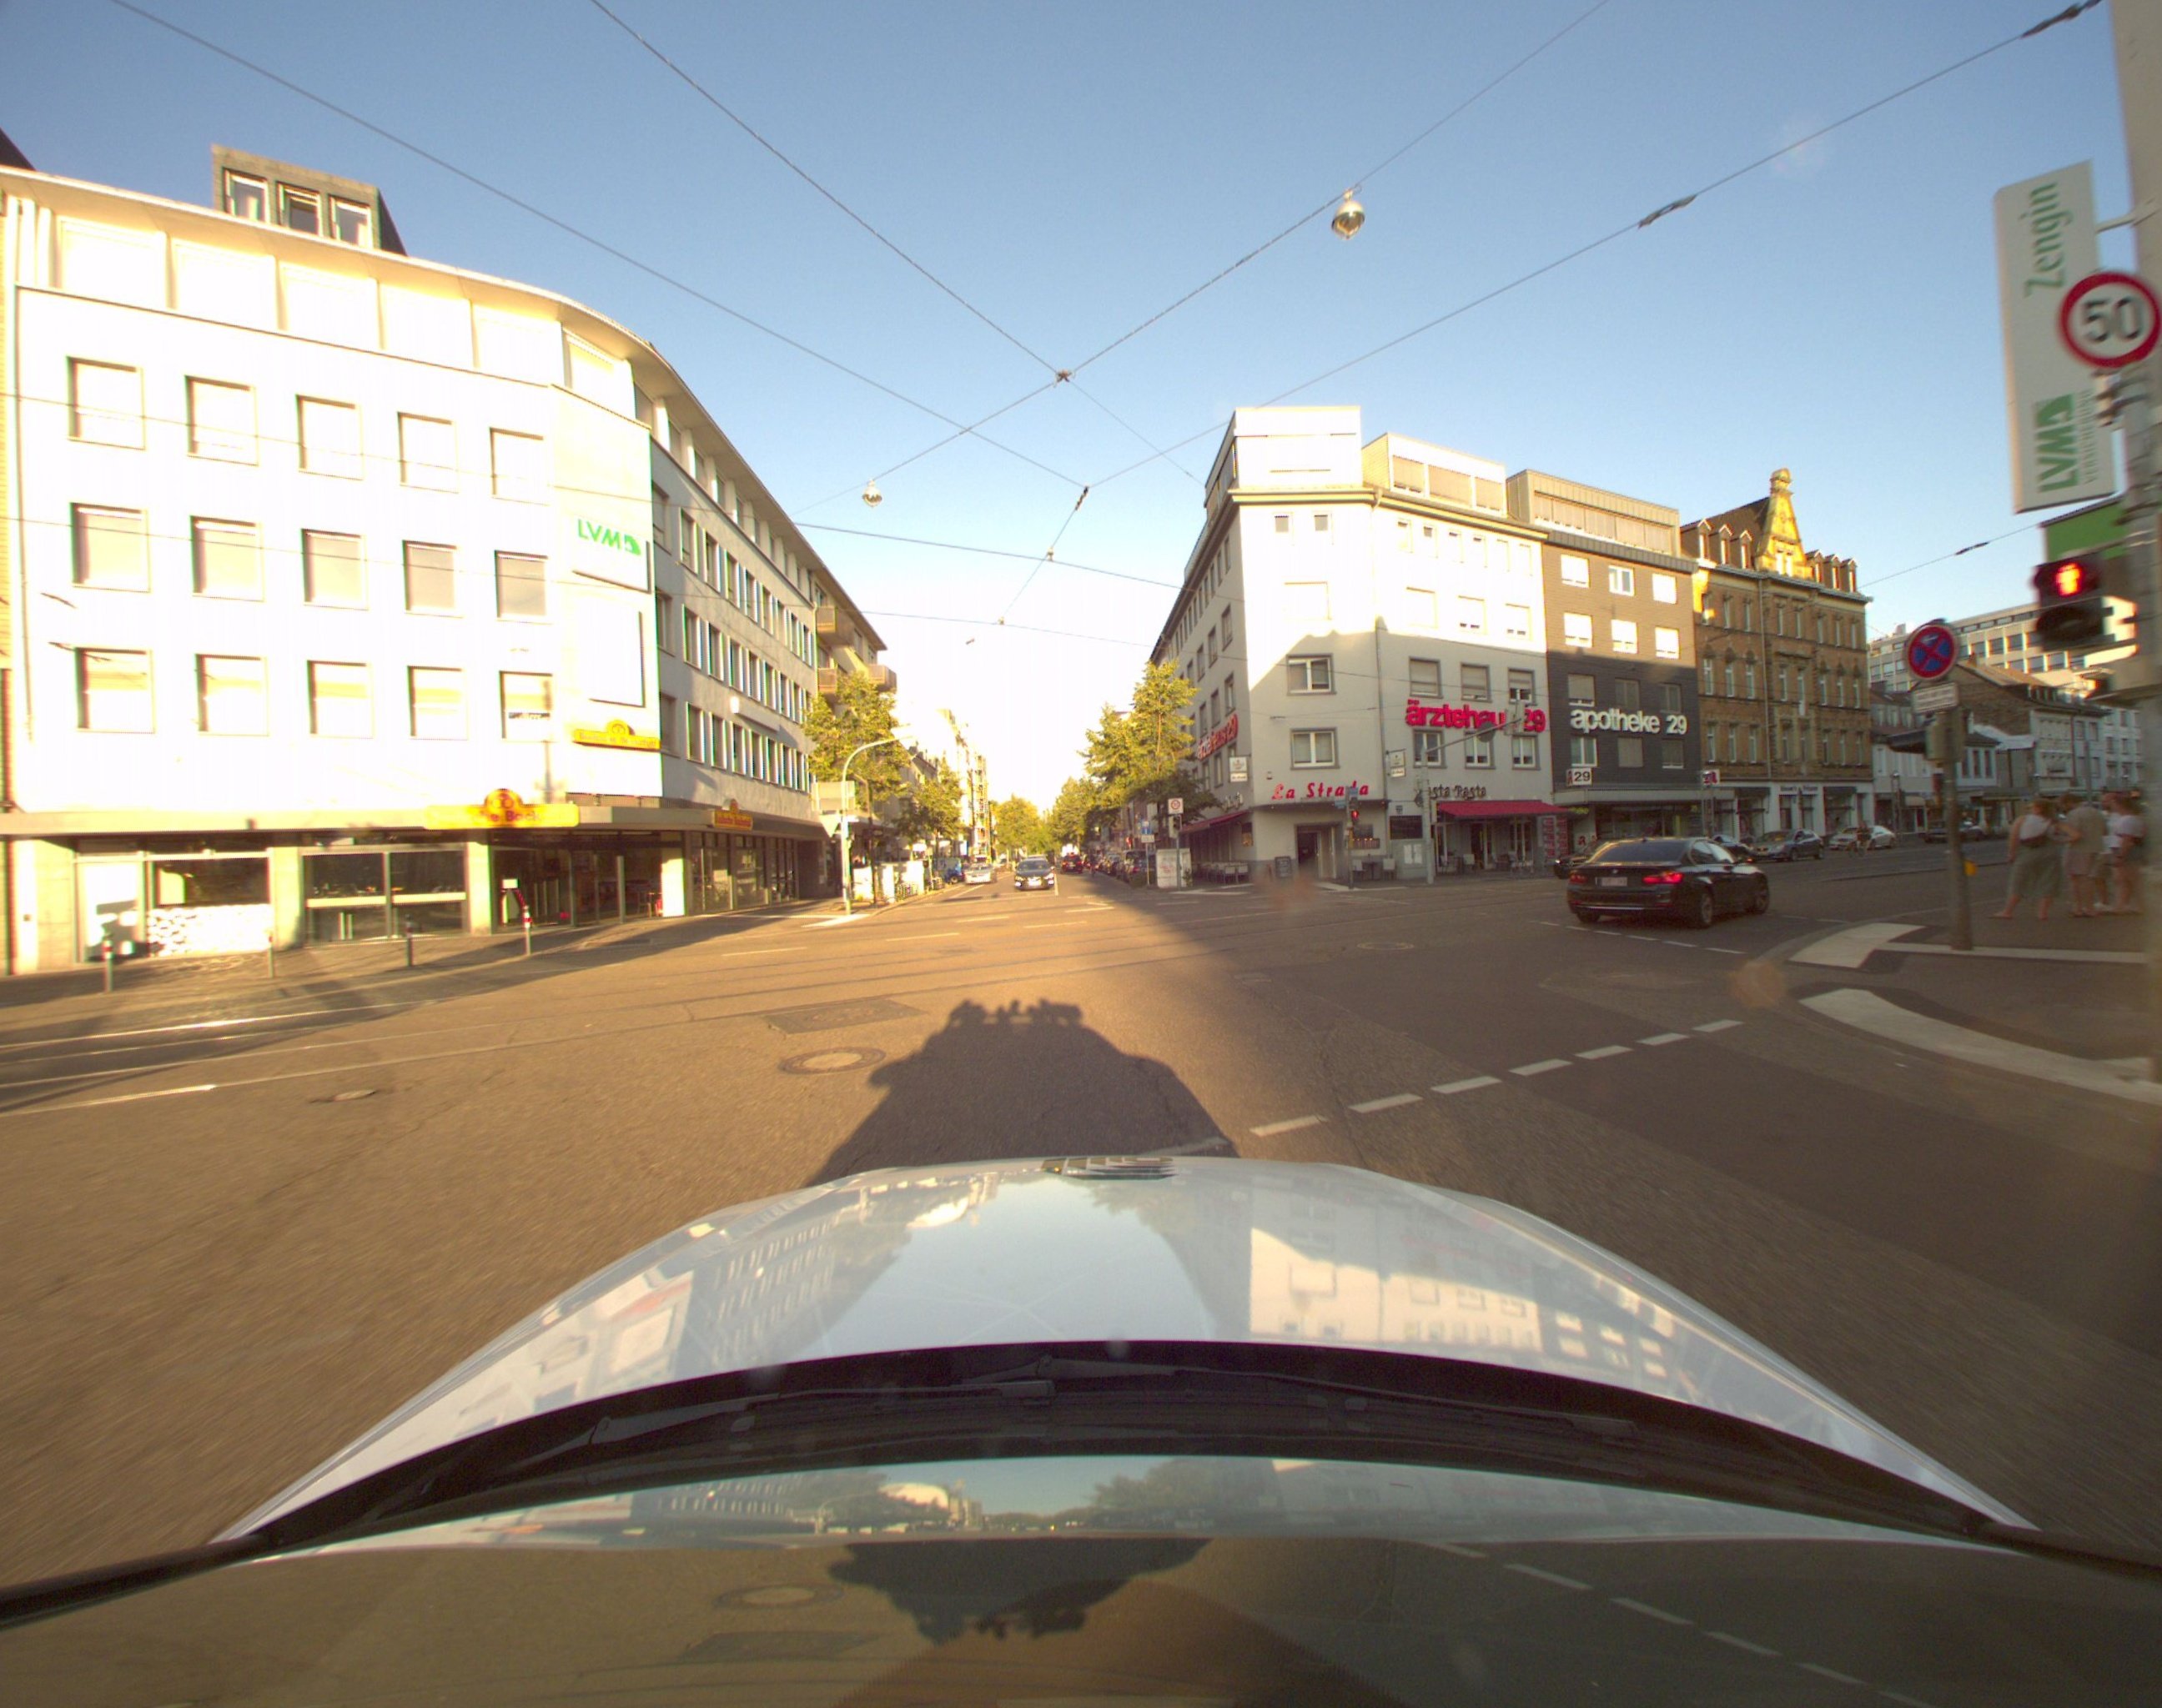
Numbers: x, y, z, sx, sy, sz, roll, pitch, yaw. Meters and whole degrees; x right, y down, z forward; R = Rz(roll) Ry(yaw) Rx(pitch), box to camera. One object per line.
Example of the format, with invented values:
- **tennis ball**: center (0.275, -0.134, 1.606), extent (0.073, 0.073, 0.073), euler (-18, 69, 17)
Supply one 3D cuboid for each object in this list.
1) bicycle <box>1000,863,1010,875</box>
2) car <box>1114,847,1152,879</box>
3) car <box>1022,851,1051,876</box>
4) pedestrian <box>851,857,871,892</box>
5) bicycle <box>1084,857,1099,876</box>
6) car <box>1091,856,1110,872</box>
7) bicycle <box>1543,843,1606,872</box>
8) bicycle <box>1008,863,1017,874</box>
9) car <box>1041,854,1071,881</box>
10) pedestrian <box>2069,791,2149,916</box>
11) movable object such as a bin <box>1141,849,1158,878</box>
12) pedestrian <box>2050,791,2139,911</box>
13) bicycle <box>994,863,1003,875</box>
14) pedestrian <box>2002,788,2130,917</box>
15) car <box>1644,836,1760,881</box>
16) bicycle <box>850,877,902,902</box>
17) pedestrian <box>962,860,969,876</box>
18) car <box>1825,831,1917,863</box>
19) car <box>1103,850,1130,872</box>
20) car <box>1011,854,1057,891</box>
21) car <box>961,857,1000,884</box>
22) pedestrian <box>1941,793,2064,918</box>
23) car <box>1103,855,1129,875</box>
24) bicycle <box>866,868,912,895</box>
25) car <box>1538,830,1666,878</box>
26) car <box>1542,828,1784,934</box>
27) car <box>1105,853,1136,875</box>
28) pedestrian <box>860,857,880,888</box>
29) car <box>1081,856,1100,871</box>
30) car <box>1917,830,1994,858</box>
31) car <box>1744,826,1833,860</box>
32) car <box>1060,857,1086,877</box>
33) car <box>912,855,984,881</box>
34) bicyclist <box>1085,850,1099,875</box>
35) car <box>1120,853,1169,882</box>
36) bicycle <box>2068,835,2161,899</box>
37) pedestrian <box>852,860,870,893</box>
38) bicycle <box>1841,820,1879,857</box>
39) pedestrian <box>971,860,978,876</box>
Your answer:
- **bicycle**: center (-9.543, 1.866, 102.564), extent (0.893, 1.395, 3.154), euler (-2, -1, -10)
- **car**: center (3.020, 0.535, 48.327), extent (1.652, 1.778, 4.004), euler (-1, 0, -5)
- **car**: center (-3.209, 0.693, 59.202), extent (1.936, 1.645, 4.732), euler (-3, -1, -3)
- **pedestrian**: center (-11.999, 1.124, 44.415), extent (0.763, 1.847, 0.745), euler (-2, 1, 7)
- **bicycle**: center (0.720, 0.865, 55.573), extent (0.779, 1.204, 2.017), euler (-3, -1, -4)
- **car**: center (2.023, 1.057, 85.072), extent (1.807, 1.668, 4.203), euler (-1, -1, -1)
- **bicycle**: center (21.290, 0.152, 35.197), extent (0.658, 1.193, 2.272), euler (0, -1, -31)
- **bicycle**: center (-8.662, 1.808, 102.742), extent (0.845, 1.351, 3.175), euler (-2, -1, -10)
- **car**: center (-1.565, 0.855, 51.787), extent (1.719, 1.549, 4.462), euler (-3, -1, -2)
- **pedestrian**: center (15.111, 0.003, 11.989), extent (0.687, 1.772, 0.622), euler (0, -2, -43)
- **movable object such as a bin**: center (4.412, 0.608, 52.277), extent (0.834, 1.774, 1.203), euler (-1, -1, -6)
- **pedestrian**: center (15.479, -0.035, 12.463), extent (0.691, 1.772, 0.756), euler (0, -2, -43)
- **bicycle**: center (-10.384, 1.896, 102.387), extent (0.781, 1.373, 3.131), euler (-1, -1, -10)
- **pedestrian**: center (14.437, -0.021, 11.956), extent (0.778, 1.813, 0.902), euler (-1, -1, -14)
- **car**: center (25.398, 0.170, 33.297), extent (4.410, 1.524, 1.982), euler (-2, -4, -28)
- **bicycle**: center (-8.551, 1.465, 34.021), extent (2.007, 0.992, 0.490), euler (-1, -1, -7)
- **pedestrian**: center (-12.707, 1.554, 89.788), extent (0.717, 1.767, 0.692), euler (-1, -1, -10)
- **car**: center (45.143, -0.419, 46.503), extent (4.988, 1.705, 1.977), euler (-1, -1, -23)
- **car**: center (2.991, 0.632, 69.842), extent (1.879, 1.754, 5.053), euler (-1, -1, -3)
- **car**: center (-2.250, 0.840, 38.675), extent (1.954, 1.547, 4.503), euler (-3, 0, -4)
- **car**: center (-6.557, 1.085, 53.599), extent (1.989, 1.511, 4.505), euler (-5, -1, -2)
- **pedestrian**: center (13.615, 0.020, 12.051), extent (0.778, 1.772, 0.902), euler (-1, -1, -14)
- **car**: center (2.708, 0.874, 63.768), extent (1.806, 1.527, 4.992), euler (-1, -1, 0)
- **bicycle**: center (-8.833, 1.267, 37.528), extent (2.004, 1.219, 0.491), euler (-1, -1, -3)
- **car**: center (19.405, -0.001, 30.303), extent (4.491, 1.469, 1.964), euler (-3, -2, -28)
- **car**: center (9.881, 0.365, 13.703), extent (4.530, 1.420, 1.978), euler (-3, 0, -37)
- **car**: center (2.698, 0.668, 57.110), extent (1.749, 1.420, 4.505), euler (-1, 0, -3)
- **pedestrian**: center (-11.776, 1.050, 45.453), extent (0.760, 1.676, 0.748), euler (-2, -1, 40)
- **car**: center (1.135, 1.166, 98.407), extent (1.822, 1.695, 4.360), euler (-1, -1, -5)
- **car**: center (56.484, -0.657, 52.591), extent (4.992, 1.705, 1.975), euler (-1, -1, -26)
- **car**: center (31.421, -0.478, 36.172), extent (3.689, 1.420, 1.753), euler (-1, -1, -28)
- **car**: center (-0.612, 1.072, 69.163), extent (1.986, 1.602, 4.511), euler (-1, -1, 2)
- **car**: center (-9.832, 1.003, 60.323), extent (4.898, 1.828, 1.980), euler (0, -1, -32)
- **bicyclist**: center (0.752, 0.590, 55.495), extent (0.779, 1.696, 1.005), euler (-3, -1, -5)
- **car**: center (3.223, 0.656, 41.888), extent (1.933, 1.376, 4.177), euler (-1, 0, -4)
- **bicycle**: center (20.281, 0.248, 15.915), extent (1.873, 1.184, 0.691), euler (-1, -1, -21)
- **pedestrian**: center (-12.445, 1.252, 46.118), extent (0.738, 1.819, 0.813), euler (-3, 0, 0)
- **bicycle**: center (35.914, -0.713, 37.541), extent (3.070, 1.632, 0.853), euler (-1, -2, -40)
- **pedestrian**: center (-11.747, 1.576, 89.906), extent (0.717, 1.740, 0.736), euler (-1, -1, -10)
